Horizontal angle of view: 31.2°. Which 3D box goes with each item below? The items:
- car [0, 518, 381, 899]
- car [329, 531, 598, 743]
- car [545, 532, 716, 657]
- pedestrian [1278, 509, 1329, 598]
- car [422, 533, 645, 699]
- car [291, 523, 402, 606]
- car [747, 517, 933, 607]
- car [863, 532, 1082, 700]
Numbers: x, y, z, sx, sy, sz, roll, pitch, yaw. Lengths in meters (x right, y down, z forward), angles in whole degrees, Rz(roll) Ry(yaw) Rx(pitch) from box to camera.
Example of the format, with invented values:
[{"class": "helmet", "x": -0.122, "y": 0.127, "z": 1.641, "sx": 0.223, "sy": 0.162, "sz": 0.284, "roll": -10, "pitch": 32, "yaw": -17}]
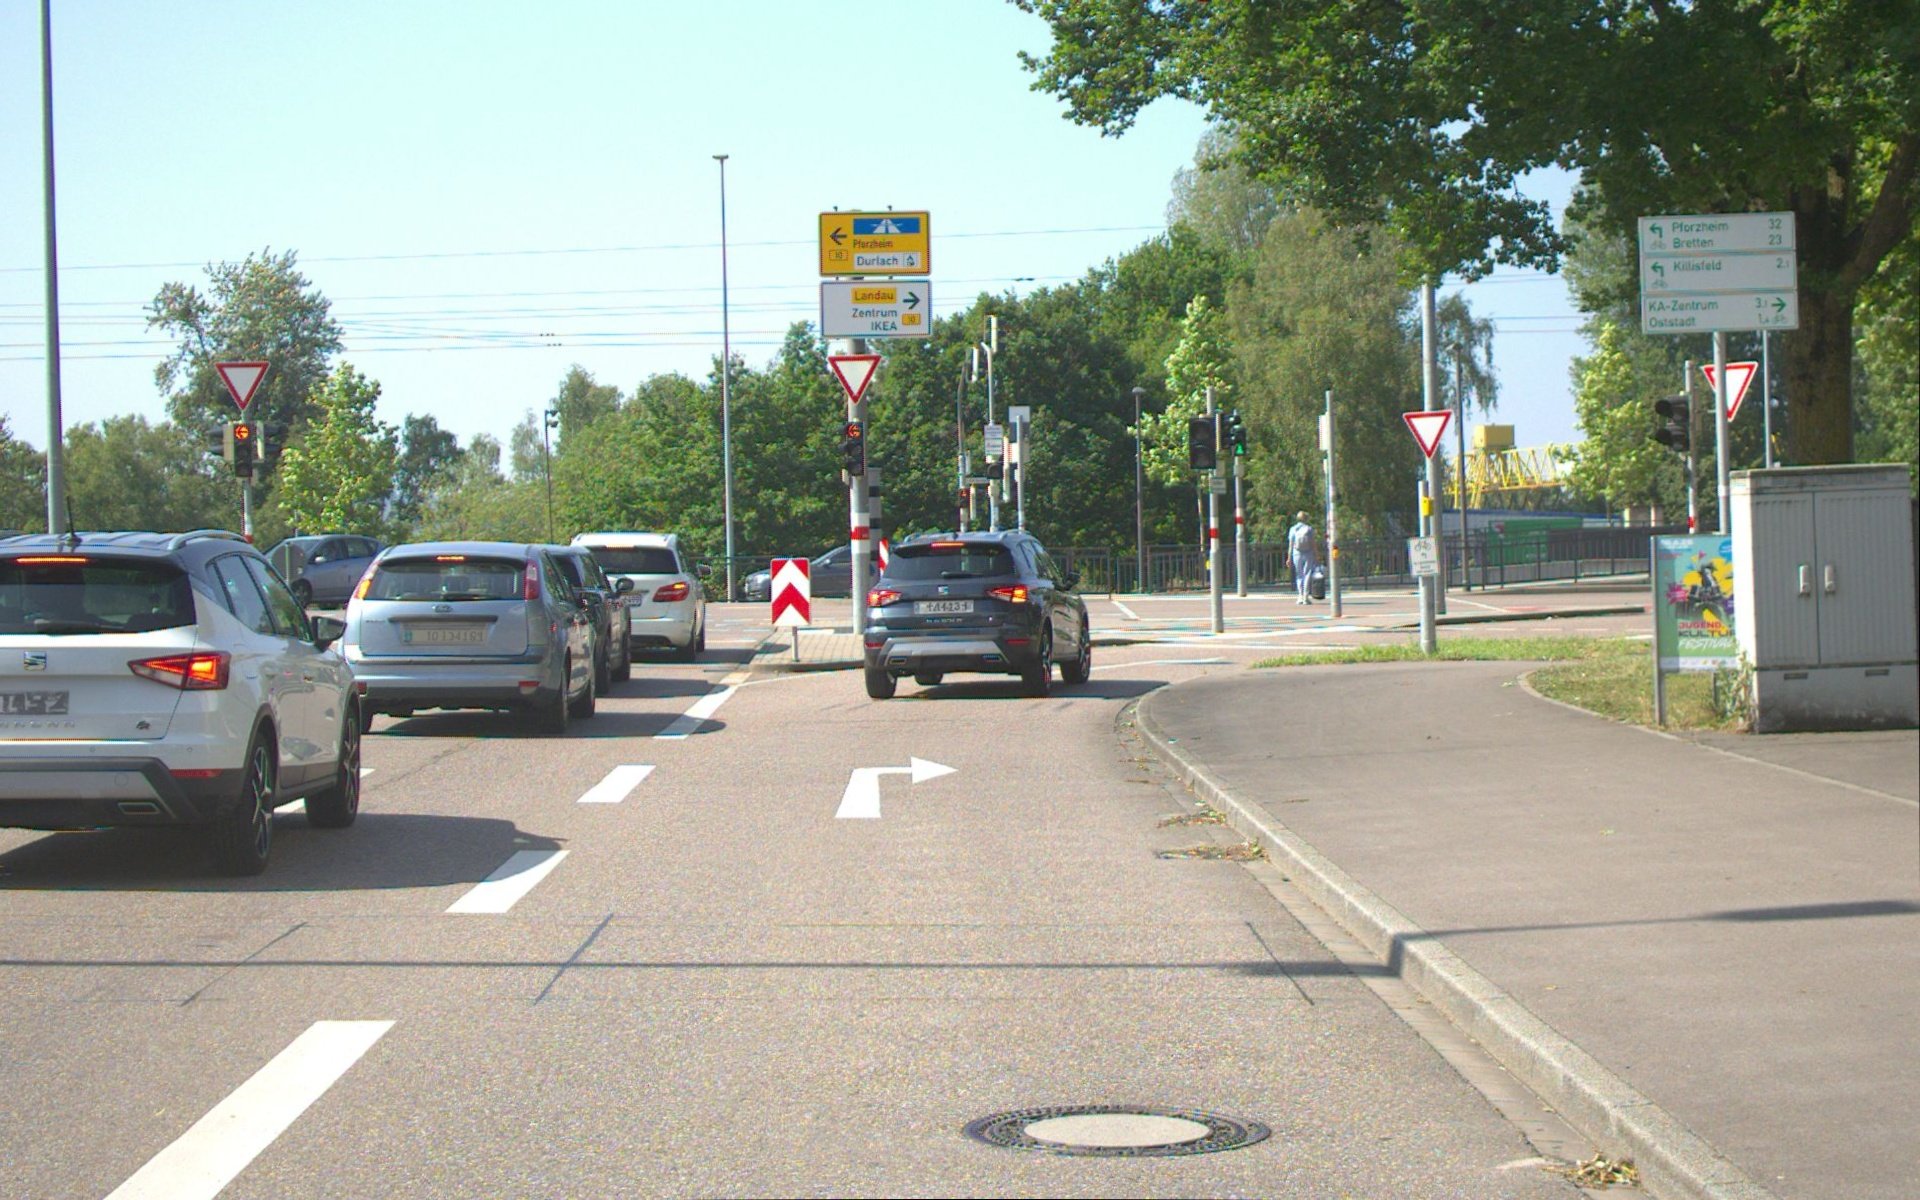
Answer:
[{"class": "car", "x": -3.913, "y": 0.417, "z": 16.389, "sx": 1.631, "sy": 1.493, "sz": 3.870, "roll": -1, "pitch": 3, "yaw": 0}, {"class": "car", "x": -3.924, "y": 0.239, "z": 27.757, "sx": 1.706, "sy": 1.568, "sz": 4.175, "roll": -1, "pitch": 1, "yaw": -2}, {"class": "car", "x": -4.021, "y": -0.110, "z": 42.565, "sx": 1.741, "sy": 1.443, "sz": 4.389, "roll": -1, "pitch": 1, "yaw": -1}, {"class": "pedestrian", "x": 5.991, "y": -0.818, "z": 59.905, "sx": 0.773, "sy": 1.505, "sz": 1.007, "roll": -1, "pitch": 2, "yaw": 10}, {"class": "car", "x": -4.210, "y": 0.109, "z": 34.482, "sx": 1.737, "sy": 1.506, "sz": 4.201, "roll": -2, "pitch": 1, "yaw": -1}, {"class": "car", "x": -12.930, "y": -0.773, "z": 72.587, "sx": 1.627, "sy": 1.619, "sz": 3.917, "roll": -1, "pitch": 2, "yaw": 0}, {"class": "car", "x": -2.830, "y": -0.890, "z": 80.980, "sx": 3.986, "sy": 2.007, "sz": 2.000, "roll": -1, "pitch": -1, "yaw": -15}, {"class": "car", "x": 0.169, "y": 0.120, "z": 32.986, "sx": 1.670, "sy": 1.518, "sz": 3.376, "roll": 0, "pitch": 1, "yaw": 8}]
